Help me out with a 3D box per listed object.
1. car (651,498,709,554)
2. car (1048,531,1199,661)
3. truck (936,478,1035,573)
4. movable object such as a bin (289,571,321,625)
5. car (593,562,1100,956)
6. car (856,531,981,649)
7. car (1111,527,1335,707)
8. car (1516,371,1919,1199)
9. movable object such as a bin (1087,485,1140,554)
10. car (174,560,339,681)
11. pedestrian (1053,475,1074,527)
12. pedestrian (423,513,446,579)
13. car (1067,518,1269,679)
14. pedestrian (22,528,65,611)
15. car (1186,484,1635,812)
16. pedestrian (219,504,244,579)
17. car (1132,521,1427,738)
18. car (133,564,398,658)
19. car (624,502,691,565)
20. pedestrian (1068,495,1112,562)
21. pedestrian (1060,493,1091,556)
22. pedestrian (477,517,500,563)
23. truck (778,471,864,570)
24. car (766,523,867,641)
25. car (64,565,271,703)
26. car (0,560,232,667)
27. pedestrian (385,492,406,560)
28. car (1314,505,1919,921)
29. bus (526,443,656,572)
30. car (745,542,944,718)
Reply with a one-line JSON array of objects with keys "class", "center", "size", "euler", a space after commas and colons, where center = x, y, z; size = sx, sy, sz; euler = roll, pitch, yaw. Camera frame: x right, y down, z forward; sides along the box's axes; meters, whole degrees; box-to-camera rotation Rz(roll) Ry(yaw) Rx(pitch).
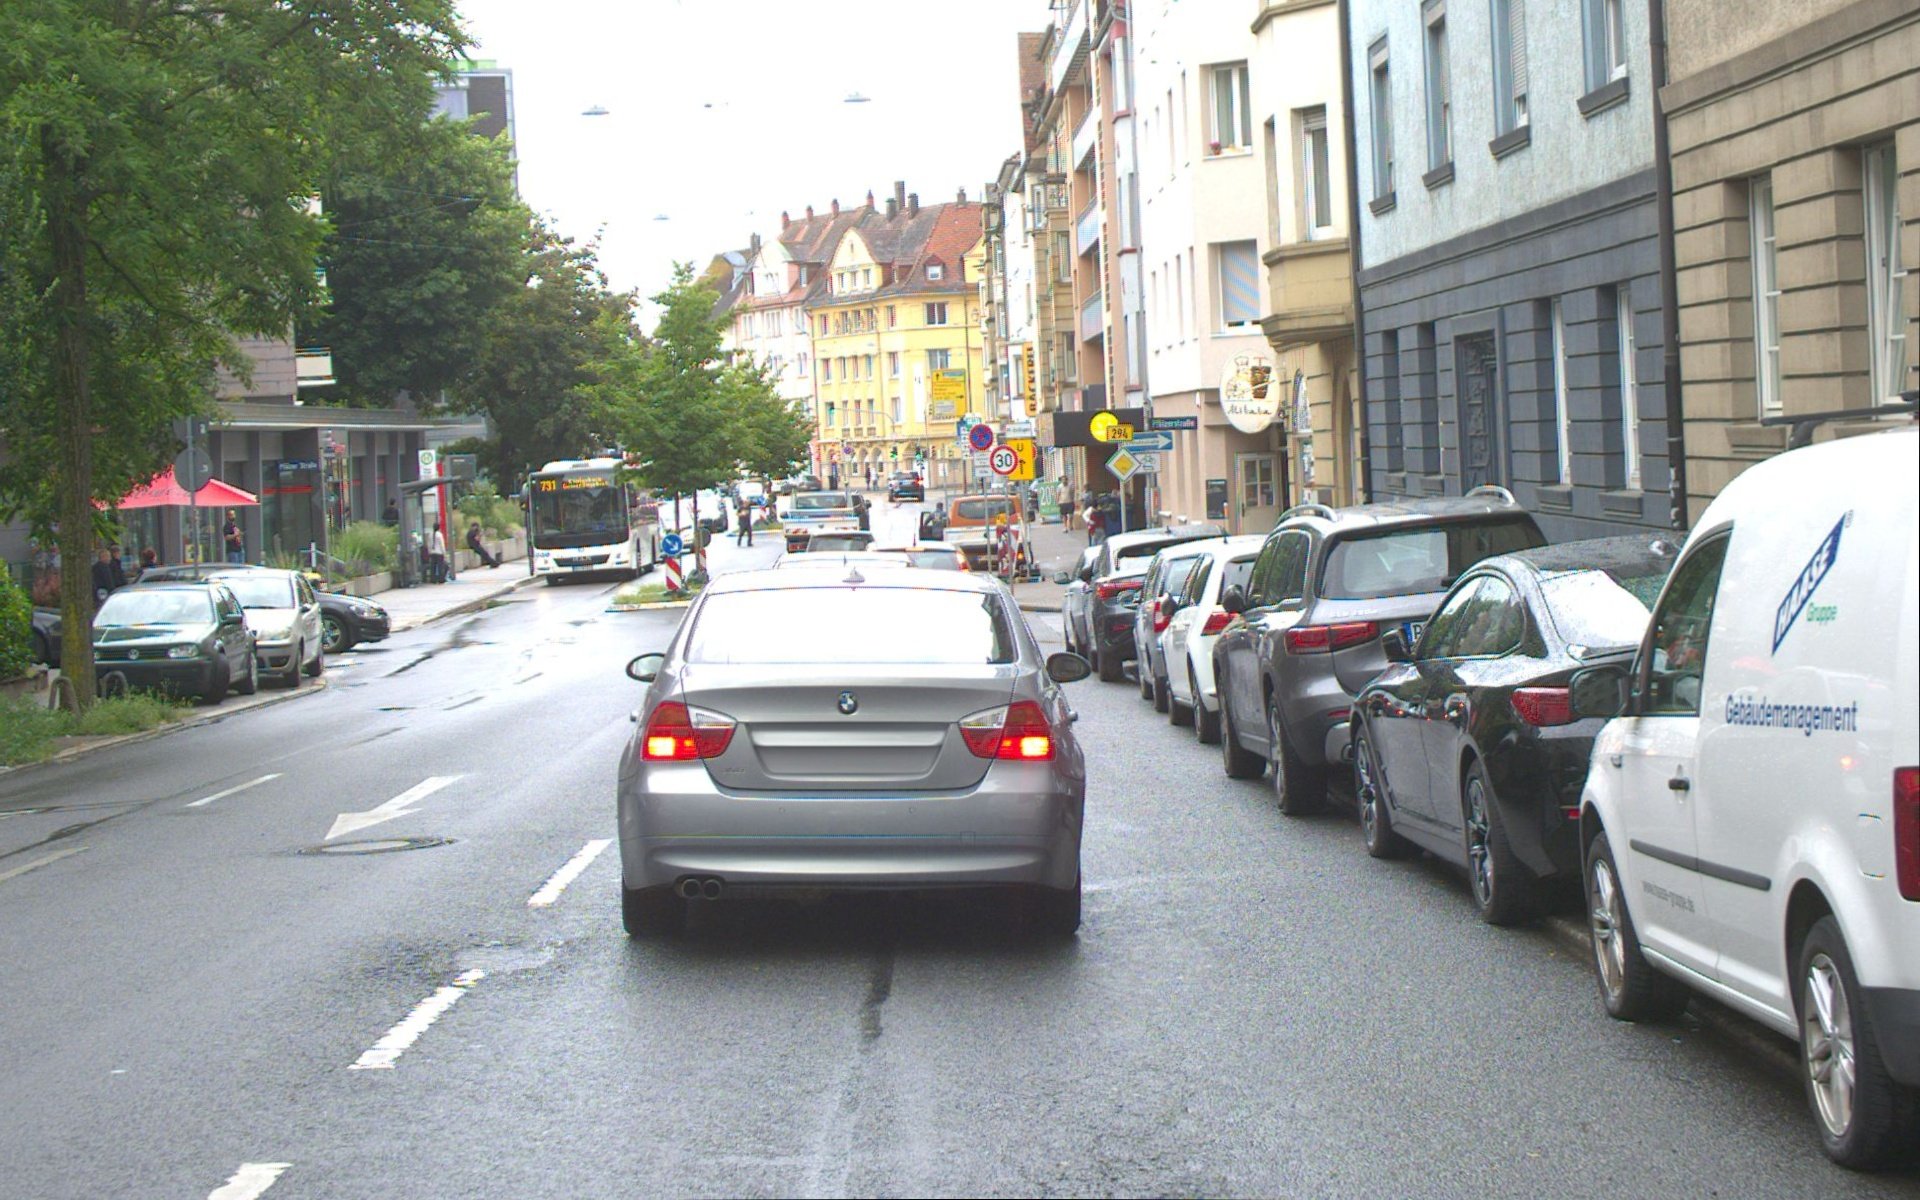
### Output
[{"class": "car", "center": [-10.619, -2.784, 130.429], "size": [1.993, 2.007, 4.000], "euler": [1, 0, -2]}, {"class": "car", "center": [2.018, -0.089, 43.265], "size": [1.569, 1.459, 4.089], "euler": [-4, 1, -1]}, {"class": "truck", "center": [0.600, -1.727, 81.009], "size": [2.215, 2.109, 4.652], "euler": [2, 1, 0]}, {"class": "movable object such as a bin", "center": [-13.223, -0.040, 69.436], "size": [0.490, 1.077, 0.606], "euler": [-3, 0, 0]}, {"class": "car", "center": [-0.430, 0.550, 13.596], "size": [1.756, 1.358, 3.165], "euler": [-1, 0, -1]}, {"class": "car", "center": [-0.471, -0.124, 41.749], "size": [1.435, 1.352, 3.762], "euler": [1, 0, 0]}, {"class": "car", "center": [2.346, 0.113, 31.443], "size": [1.583, 1.424, 3.595], "euler": [-5, 1, -1]}, {"class": "car", "center": [2.873, 0.313, 9.580], "size": [1.790, 1.811, 4.080], "euler": [-4, 1, -1]}, {"class": "movable object such as a bin", "center": [3.927, -2.053, 88.174], "size": [1.122, 1.697, 1.434], "euler": [-3, 0, -3]}, {"class": "car", "center": [-9.164, 0.231, 45.034], "size": [1.631, 1.449, 3.840], "euler": [-2, 1, -5]}, {"class": "pedestrian", "center": [3.347, -3.182, 110.769], "size": [0.615, 1.655, 0.754], "euler": [1, 0, 5]}, {"class": "pedestrian", "center": [-13.526, -1.388, 88.479], "size": [0.542, 1.703, 0.466], "euler": [1, 0, -7]}, {"class": "car", "center": [2.224, -0.053, 37.744], "size": [1.818, 1.552, 4.293], "euler": [-4, 1, -1]}, {"class": "pedestrian", "center": [-20.316, -0.687, 76.193], "size": [0.633, 1.809, 0.638], "euler": [-3, 2, -38]}, {"class": "car", "center": [2.506, 0.231, 20.155], "size": [1.840, 1.615, 4.208], "euler": [-3, 1, -2]}, {"class": "pedestrian", "center": [-17.400, -1.396, 82.134], "size": [0.464, 1.783, 0.544], "euler": [1, 0, -1]}, {"class": "car", "center": [2.401, 0.171, 26.756], "size": [1.729, 1.424, 3.974], "euler": [-5, 1, -1]}, {"class": "car", "center": [-10.840, 0.164, 53.823], "size": [3.815, 1.385, 1.743], "euler": [-1, 0, -2]}, {"class": "car", "center": [-10.082, -2.209, 114.686], "size": [1.993, 2.007, 4.000], "euler": [1, 0, -2]}, {"class": "pedestrian", "center": [3.226, -1.775, 85.385], "size": [0.750, 1.655, 0.754], "euler": [1, 0, -37]}, {"class": "pedestrian", "center": [3.060, -2.001, 90.959], "size": [0.749, 1.655, 0.836], "euler": [1, 0, 5]}, {"class": "pedestrian", "center": [-14.266, -1.815, 104.015], "size": [0.619, 1.373, 0.544], "euler": [1, 0, 0]}, {"class": "truck", "center": [-3.718, -2.109, 92.267], "size": [2.216, 2.535, 4.780], "euler": [1, 0, -2]}, {"class": "car", "center": [-2.582, -0.309, 61.147], "size": [1.705, 2.007, 4.000], "euler": [1, 0, -3]}, {"class": "car", "center": [-9.316, 0.362, 40.663], "size": [1.653, 1.449, 3.943], "euler": [-2, 1, -3]}, {"class": "car", "center": [-12.931, 0.208, 51.026], "size": [3.816, 1.385, 1.743], "euler": [-2, 2, 2]}, {"class": "pedestrian", "center": [-15.080, -1.978, 91.867], "size": [0.542, 1.783, 0.508], "euler": [1, 0, -10]}, {"class": "car", "center": [2.801, 0.377, 14.833], "size": [1.840, 1.404, 4.388], "euler": [-4, 1, -2]}, {"class": "bus", "center": [-10.004, -2.425, 94.281], "size": [2.681, 3.190, 11.957], "euler": [1, 0, -2]}, {"class": "car", "center": [-1.034, 0.242, 29.594], "size": [1.601, 1.415, 3.288], "euler": [1, 0, -3]}]
